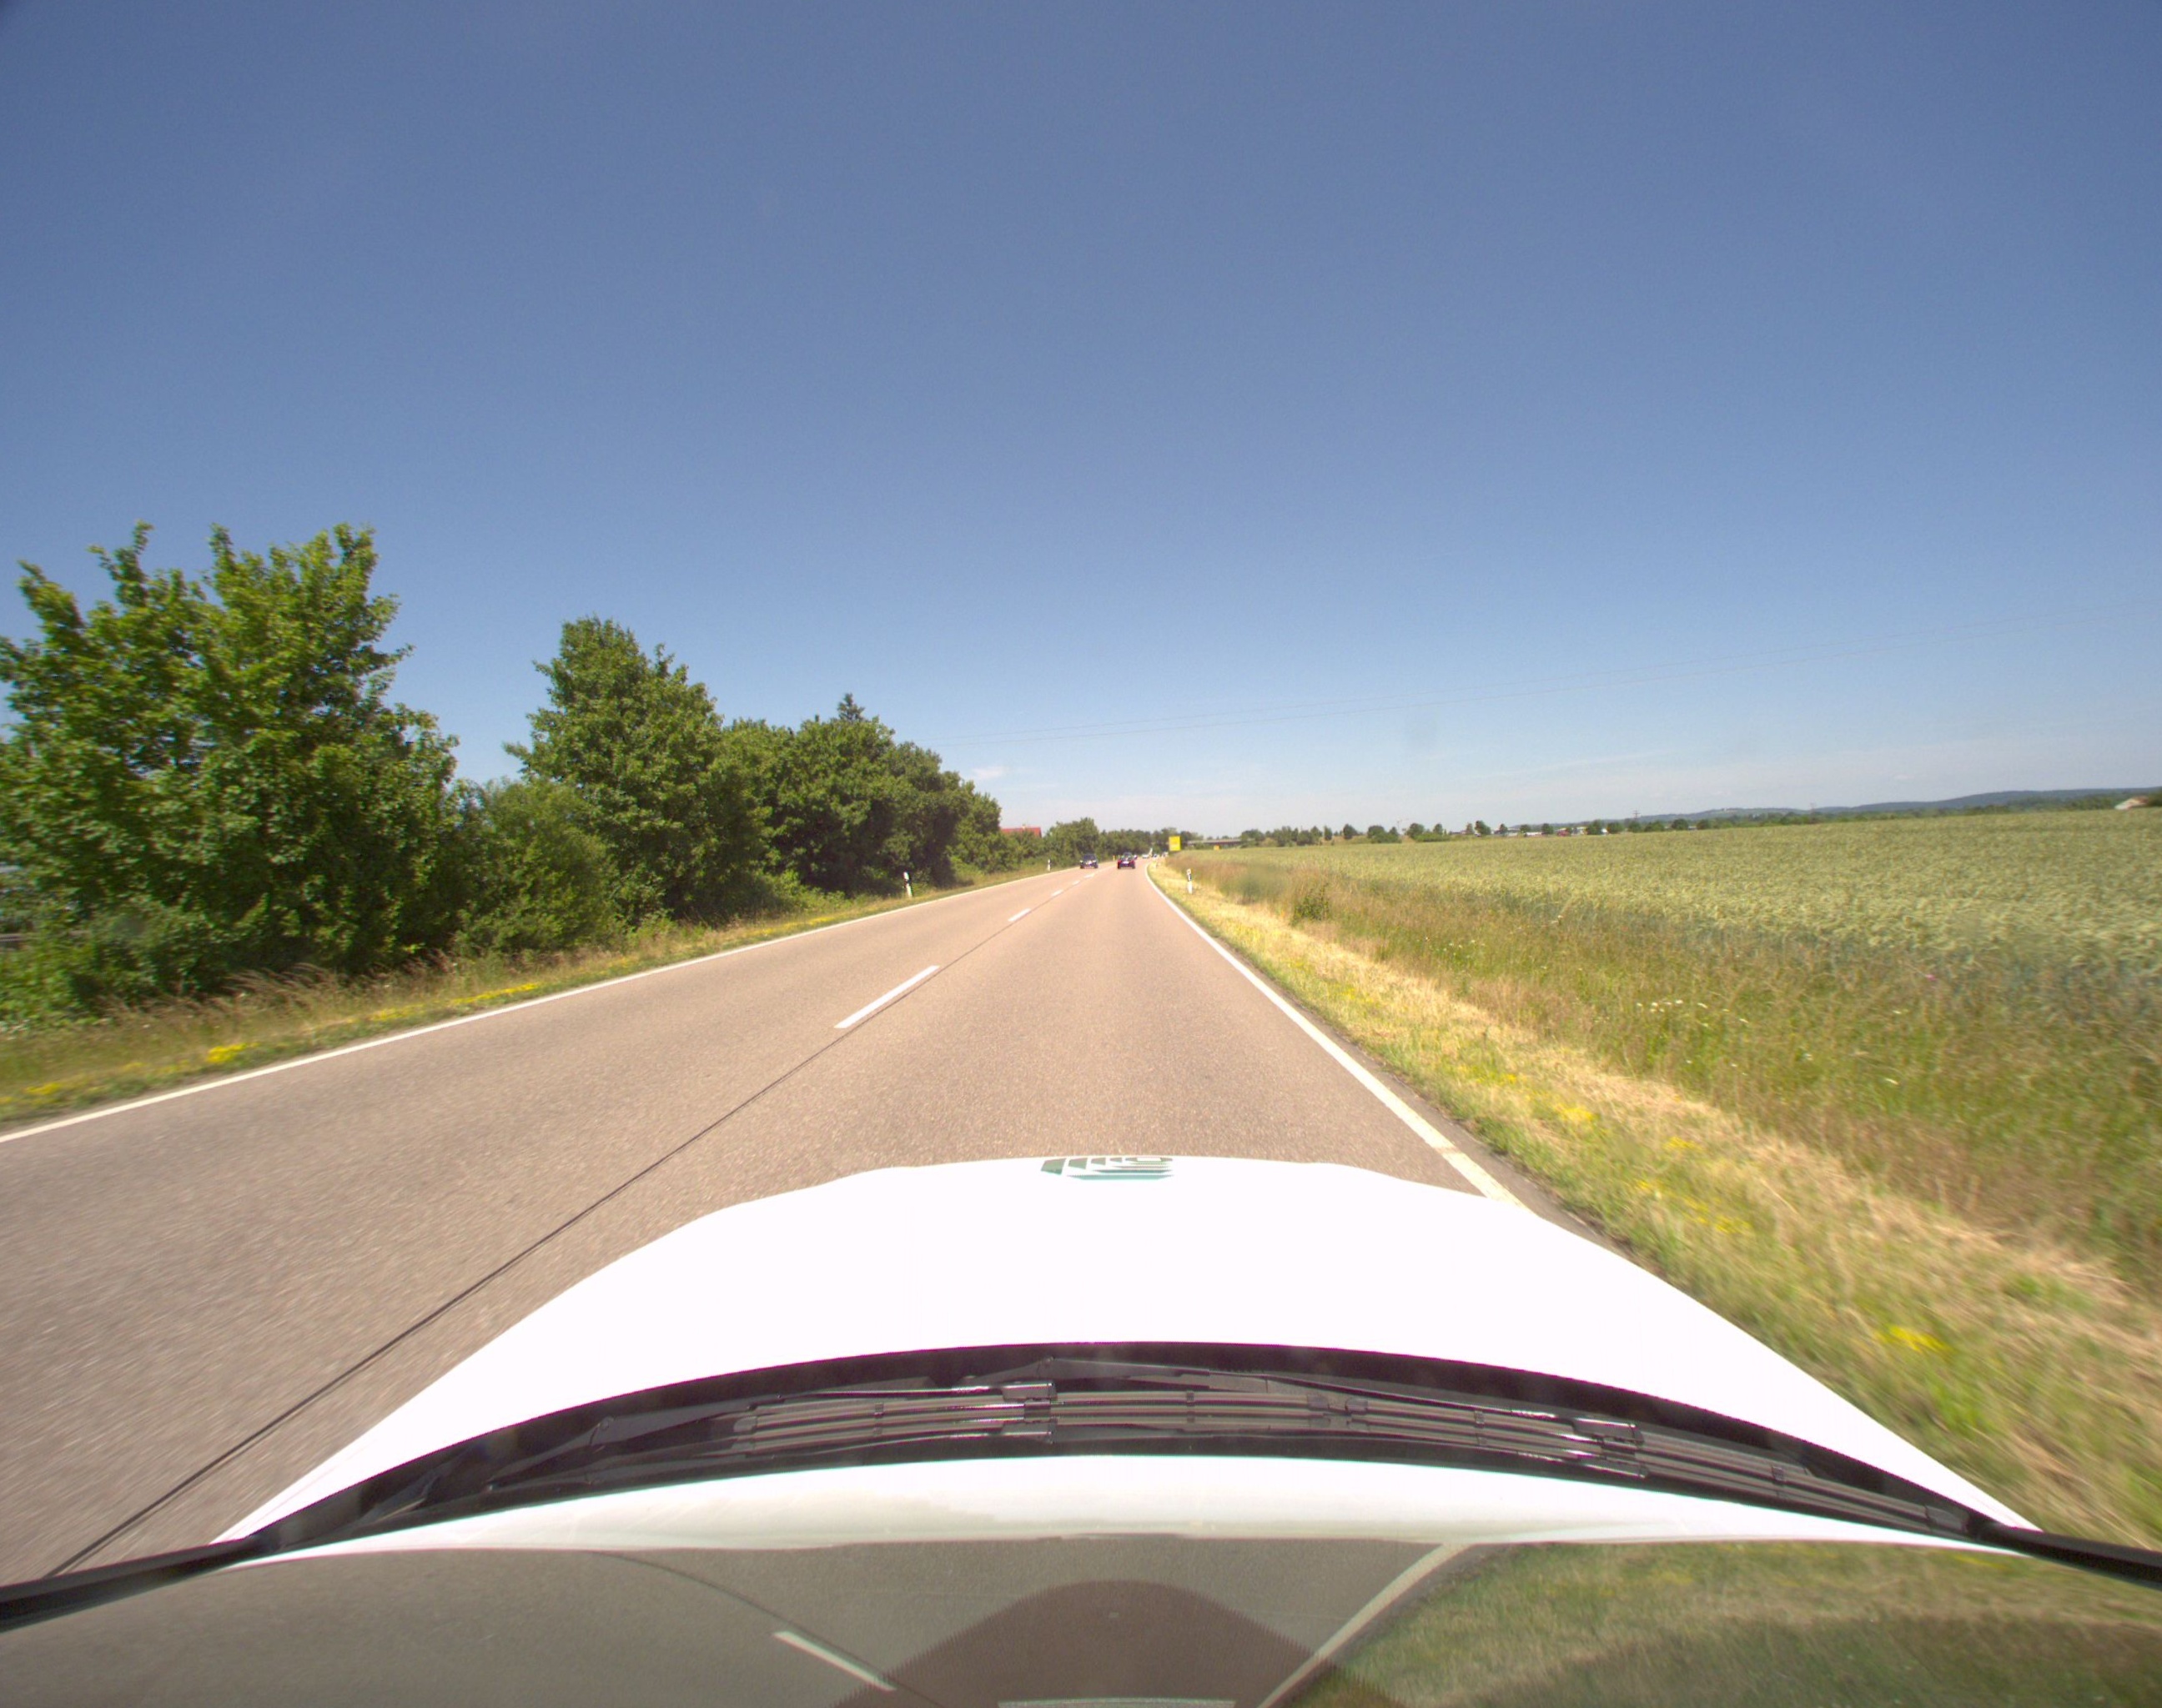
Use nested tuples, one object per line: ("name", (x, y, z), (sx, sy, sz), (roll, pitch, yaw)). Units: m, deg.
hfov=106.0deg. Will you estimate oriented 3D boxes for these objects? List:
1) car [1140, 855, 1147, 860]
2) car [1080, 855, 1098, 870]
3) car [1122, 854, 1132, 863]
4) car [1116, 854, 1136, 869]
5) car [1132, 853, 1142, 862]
("car", (16.825, 1.005, 220.380), (1.699, 1.381, 3.825), (-1, 0, 6))
("car", (0.865, 0.926, 87.588), (1.692, 1.566, 3.674), (-1, 0, 3))
("car", (9.314, 0.848, 163.487), (1.810, 1.701, 5.008), (-2, 0, 5))
("car", (4.556, 0.756, 82.096), (1.805, 1.441, 4.007), (-1, 0, 6))
("car", (12.599, 0.867, 183.179), (1.856, 2.013, 4.009), (0, 0, 8))
